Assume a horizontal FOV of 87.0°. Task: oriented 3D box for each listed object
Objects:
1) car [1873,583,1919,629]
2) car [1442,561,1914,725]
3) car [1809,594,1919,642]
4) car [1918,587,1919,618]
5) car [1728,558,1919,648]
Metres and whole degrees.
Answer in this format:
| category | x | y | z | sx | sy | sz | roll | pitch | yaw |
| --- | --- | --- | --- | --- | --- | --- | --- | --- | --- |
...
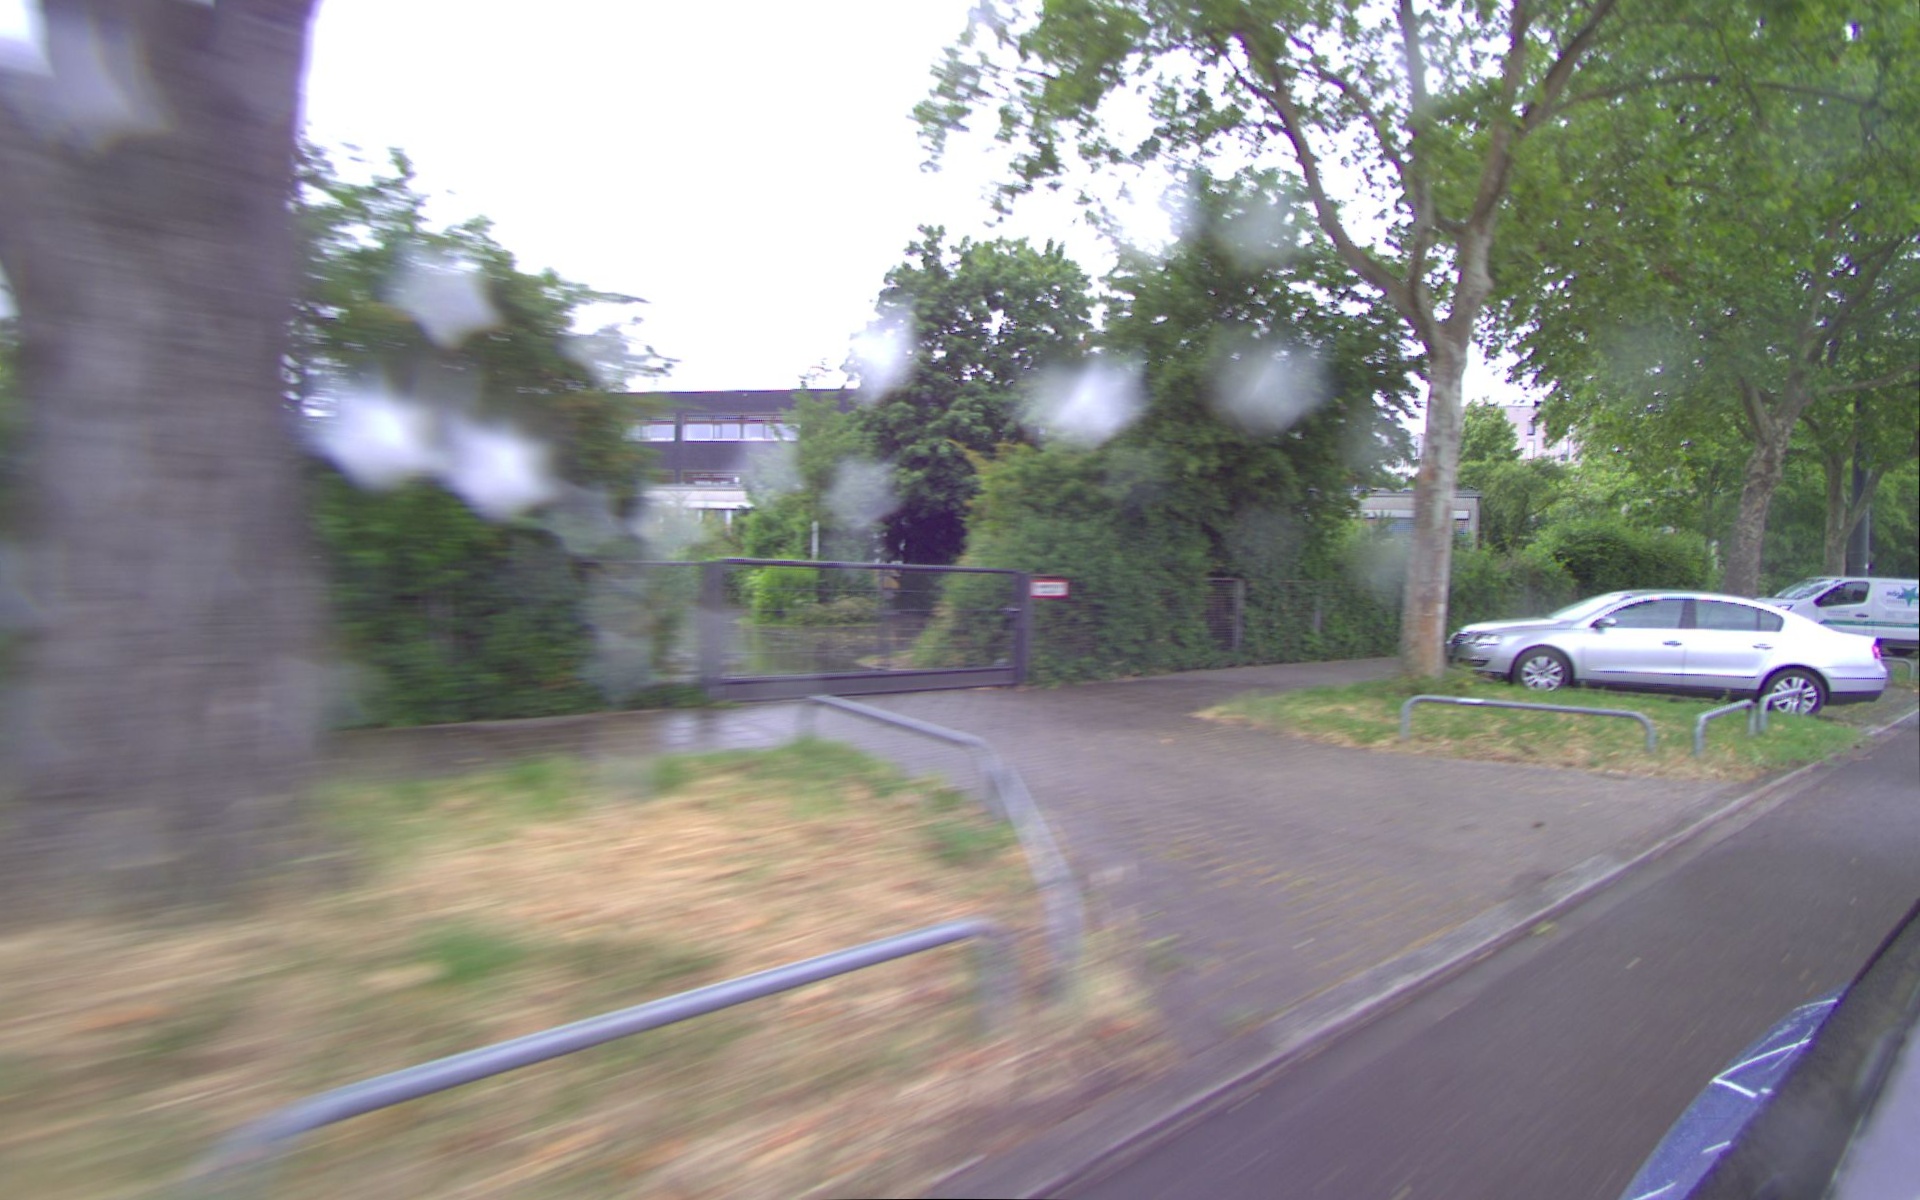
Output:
| category | x | y | z | sx | sy | sz | roll | pitch | yaw |
| --- | --- | --- | --- | --- | --- | --- | --- | --- | --- |
| car | 37.283 | 0.274 | 38.086 | 3.985 | 1.661 | 1.649 | 2 | 2 | 12 |
| car | 8.944 | 0.443 | 13.134 | 4.502 | 1.563 | 1.877 | 5 | 2 | 18 |
| car | 29.821 | 0.566 | 31.954 | 4.236 | 1.401 | 1.736 | 1 | 1 | 10 |
| car | 49.840 | 0.248 | 49.527 | 3.753 | 1.551 | 1.874 | 3 | 2 | 17 |
| car | 22.837 | 0.089 | 25.567 | 4.958 | 2.038 | 1.991 | 3 | 2 | 15 |
